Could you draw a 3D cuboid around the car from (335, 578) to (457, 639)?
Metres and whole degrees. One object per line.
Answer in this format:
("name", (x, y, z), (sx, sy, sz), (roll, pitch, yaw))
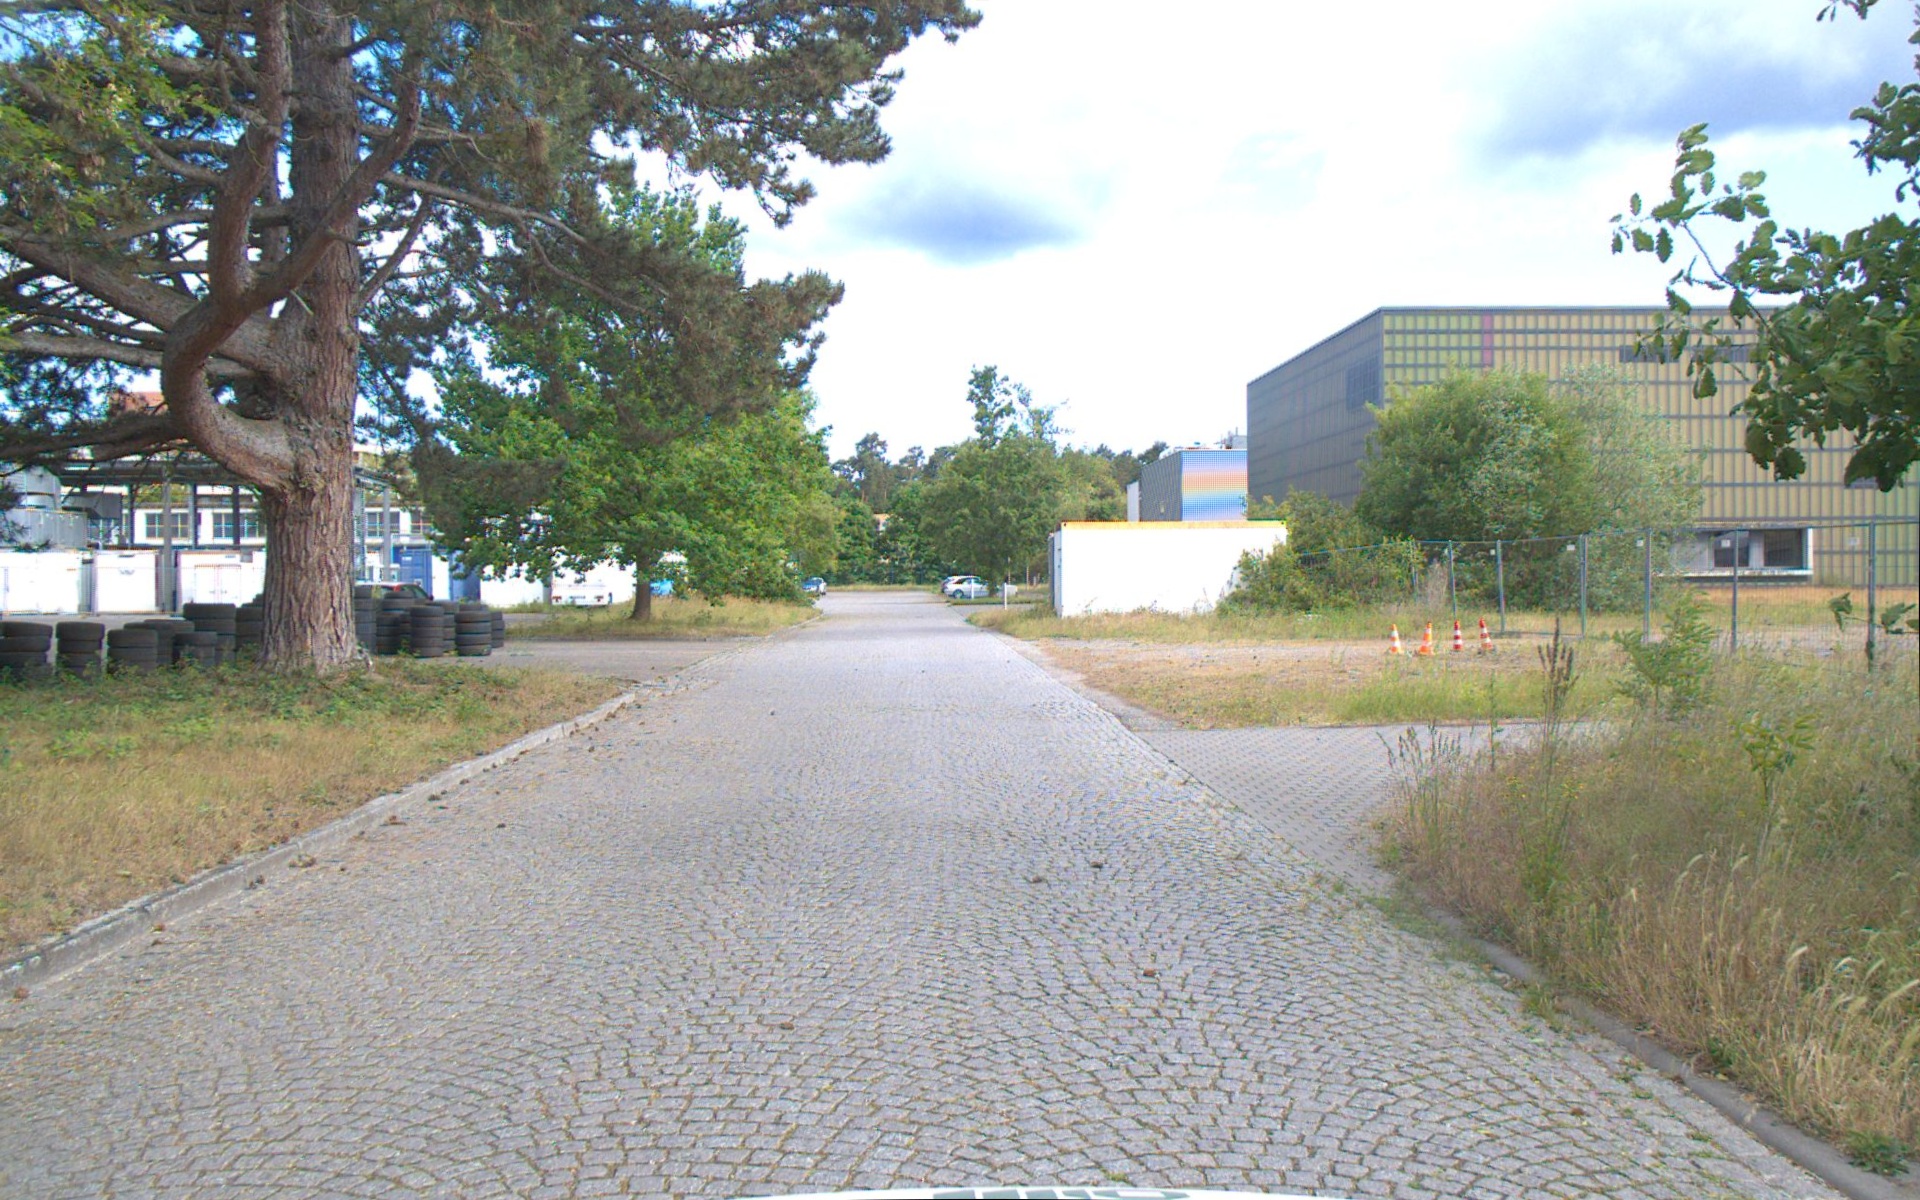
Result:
("car", (-14.810, 0.197, 43.650), (1.591, 1.458, 4.066), (-1, 1, 3))

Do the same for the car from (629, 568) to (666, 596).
("car", (-22.861, -1.334, 121.175), (1.953, 2.049, 4.766), (-1, 1, -2))

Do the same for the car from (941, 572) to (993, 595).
("car", (0.439, -1.144, 112.584), (3.452, 1.386, 1.622), (-3, 1, -2))

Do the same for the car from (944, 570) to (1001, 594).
("car", (0.871, -1.270, 115.296), (3.904, 1.473, 1.653), (-3, 1, -2))

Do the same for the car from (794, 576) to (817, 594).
("car", (-12.478, -1.249, 133.631), (1.614, 1.393, 3.996), (-1, 1, -2))

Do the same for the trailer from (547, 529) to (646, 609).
("trailer", (-17.766, -1.495, 81.560), (2.571, 3.660, 10.178), (-1, 1, 0))

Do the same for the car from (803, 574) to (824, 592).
("car", (-12.746, -1.474, 143.966), (1.614, 1.483, 3.996), (-1, 1, -2))
